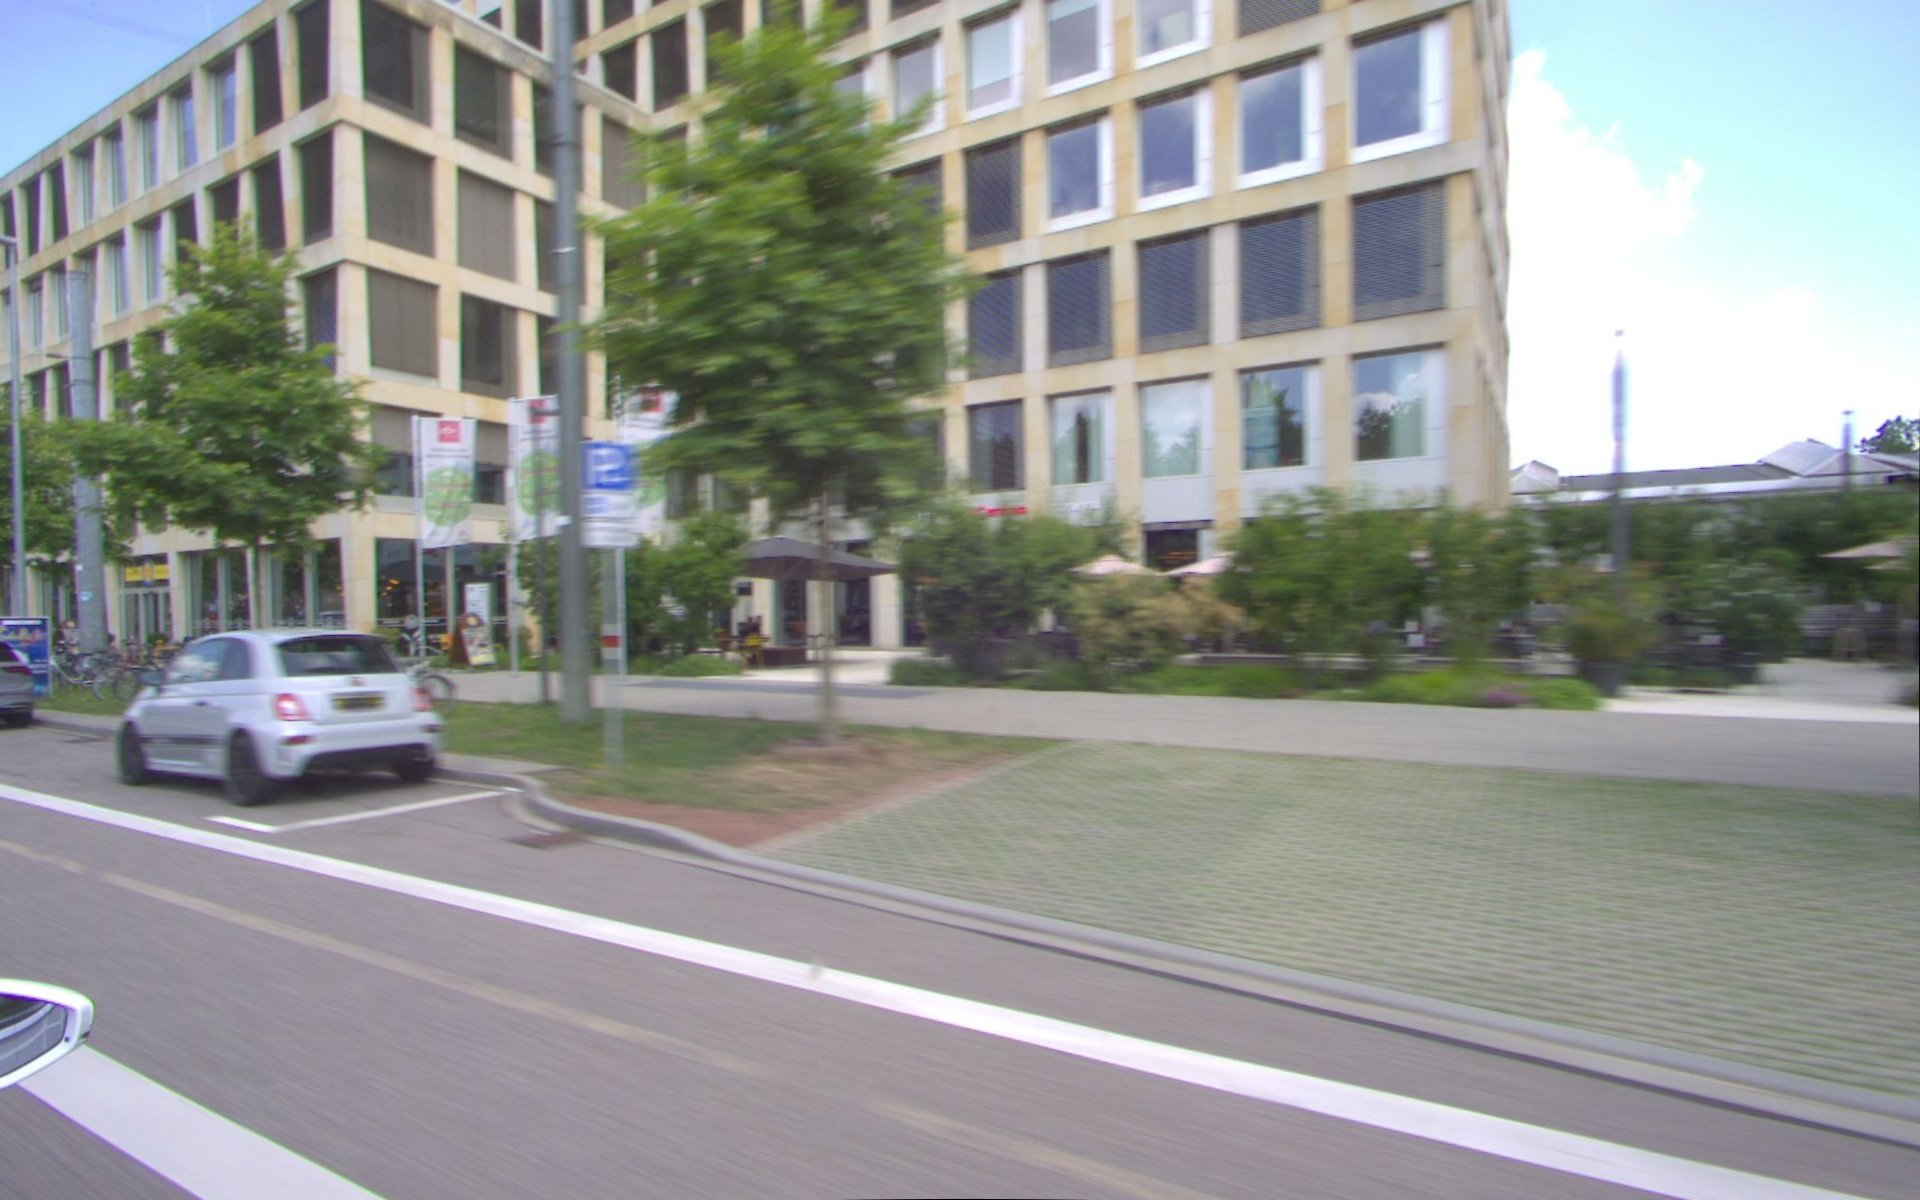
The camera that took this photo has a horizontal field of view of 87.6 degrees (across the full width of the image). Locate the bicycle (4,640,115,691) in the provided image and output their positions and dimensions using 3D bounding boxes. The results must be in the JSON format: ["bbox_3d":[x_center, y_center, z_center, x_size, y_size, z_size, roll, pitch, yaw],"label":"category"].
[{"bbox_3d":[-20.340,1.449,22.660,0.426,1.044,1.818,-1,0,34],"label":"bicycle"}]

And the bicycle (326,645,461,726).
[{"bbox_3d":[-8.498,1.254,15.092,0.271,1.090,1.818,-1,0,35],"label":"bicycle"}]

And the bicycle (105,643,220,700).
[{"bbox_3d":[-15.722,1.391,19.792,0.321,0.999,1.749,-1,1,31],"label":"bicycle"}]

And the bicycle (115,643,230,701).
[{"bbox_3d":[-15.417,1.385,19.646,0.321,0.999,1.749,-1,1,31],"label":"bicycle"}]

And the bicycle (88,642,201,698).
[{"bbox_3d":[-16.343,1.389,20.114,0.321,0.999,1.749,-1,1,31],"label":"bicycle"}]

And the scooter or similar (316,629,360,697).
[{"bbox_3d":[-11.635,1.170,18.722,1.000,1.231,0.258,-1,1,31],"label":"scooter or similar"}]

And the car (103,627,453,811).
[{"bbox_3d":[-6.735,1.017,9.812,3.562,1.479,1.588,-1,-1,33],"label":"car"}]

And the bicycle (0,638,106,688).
[{"bbox_3d":[-20.975,1.423,23.127,0.576,1.044,1.818,-1,0,34],"label":"bicycle"}]

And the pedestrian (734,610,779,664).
[{"bbox_3d":[-5.433,0.971,26.776,0.855,1.381,0.773,-1,2,31],"label":"pedestrian"}]

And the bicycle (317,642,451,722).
[{"bbox_3d":[-8.740,1.220,15.272,0.271,1.090,1.818,-1,0,35],"label":"bicycle"}]

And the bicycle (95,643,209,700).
[{"bbox_3d":[-16.049,1.398,19.936,0.321,0.999,1.749,-1,1,31],"label":"bicycle"}]

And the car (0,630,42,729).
[{"bbox_3d":[-16.112,1.189,15.544,4.045,1.453,1.590,-1,-2,30],"label":"car"}]

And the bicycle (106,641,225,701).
[{"bbox_3d":[-14.971,1.319,18.918,0.321,0.999,1.749,-1,1,31],"label":"bicycle"}]
